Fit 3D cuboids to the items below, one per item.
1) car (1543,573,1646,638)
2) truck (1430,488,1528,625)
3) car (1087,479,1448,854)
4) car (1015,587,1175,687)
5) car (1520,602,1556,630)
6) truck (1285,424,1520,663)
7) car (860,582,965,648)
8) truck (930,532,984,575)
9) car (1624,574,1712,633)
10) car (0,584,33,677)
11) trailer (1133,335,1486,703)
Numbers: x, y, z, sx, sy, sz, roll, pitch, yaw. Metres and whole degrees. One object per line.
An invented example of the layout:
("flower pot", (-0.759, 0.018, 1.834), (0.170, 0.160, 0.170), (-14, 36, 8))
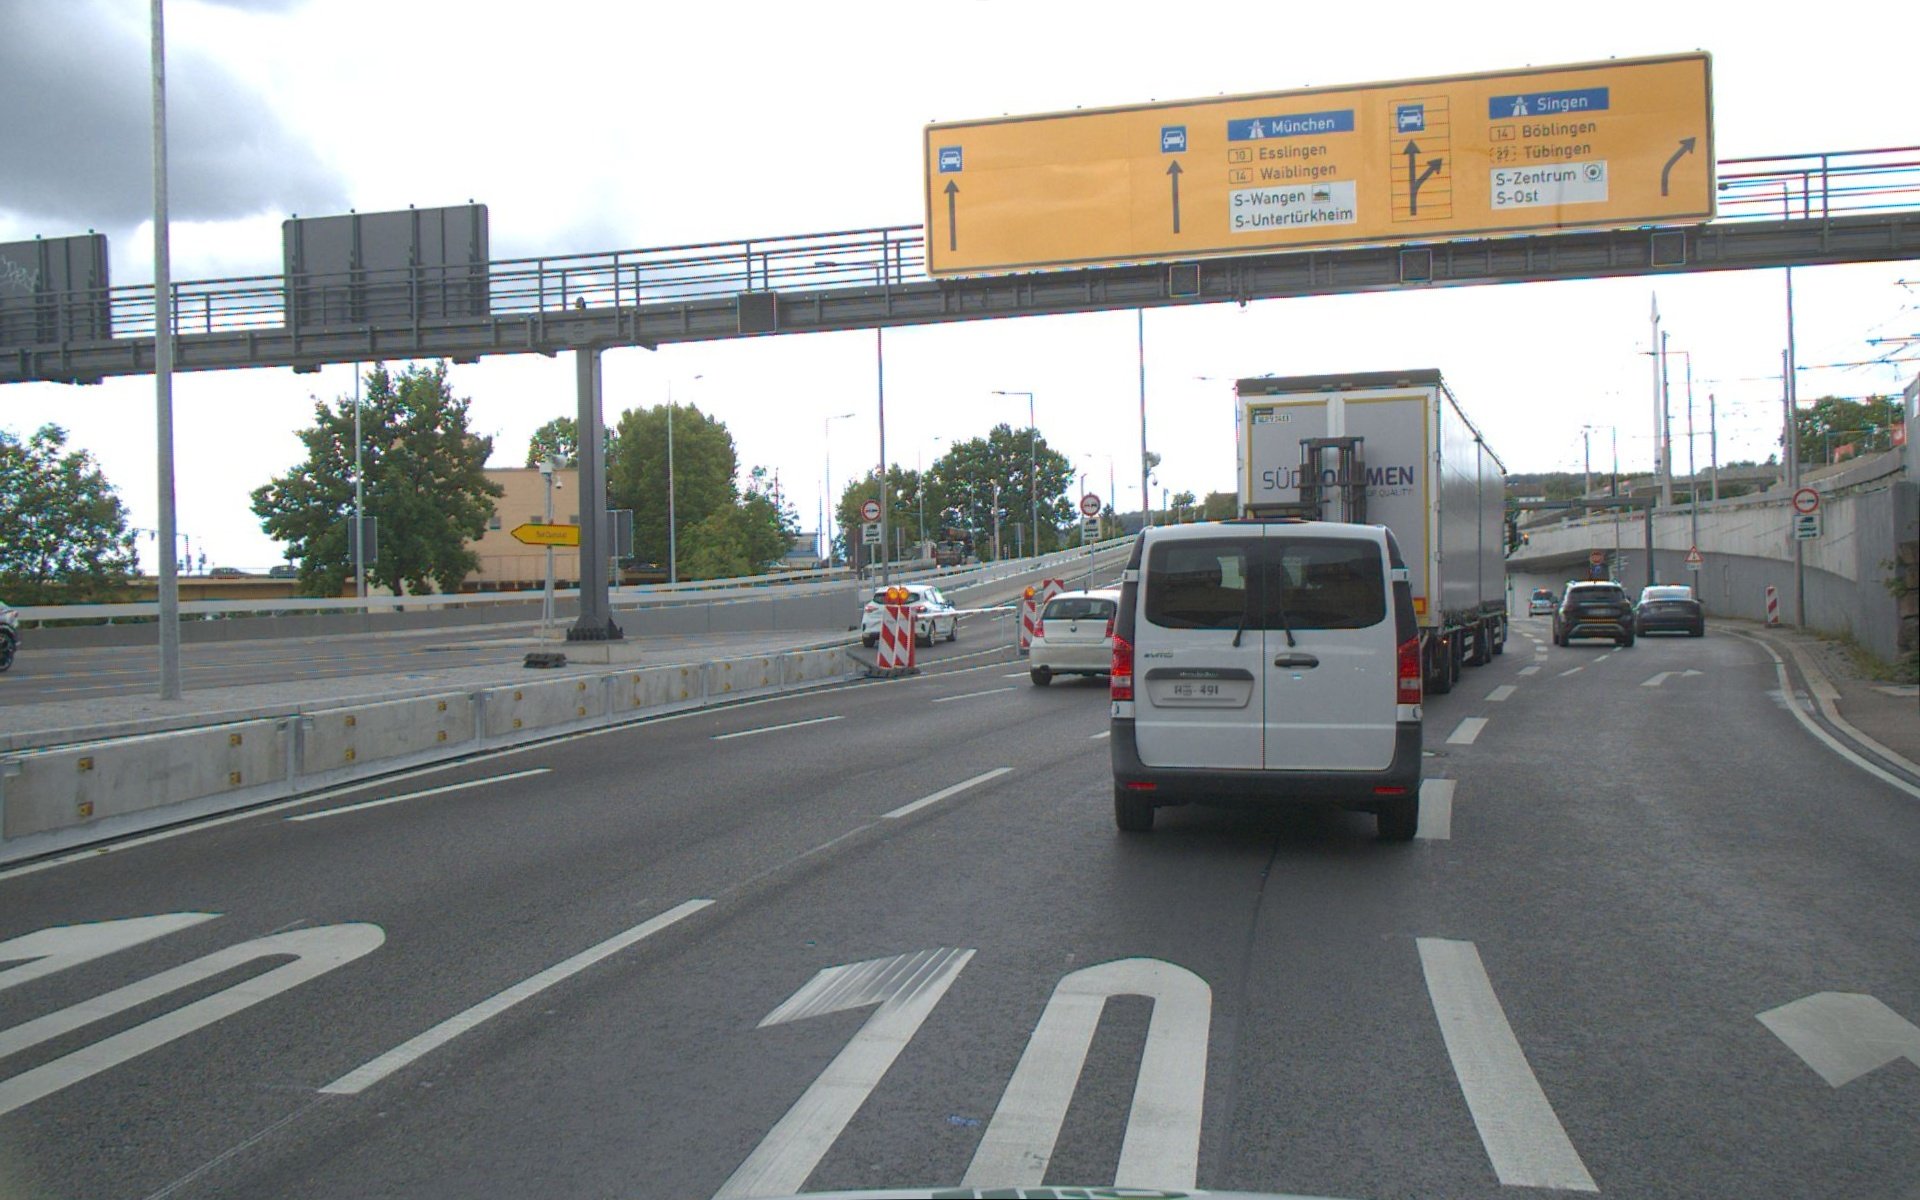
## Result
("car", (15.813, 0.174, 41.403), (1.852, 1.547, 4.003), (0, -1, 13))
("truck", (20.162, -1.553, 64.751), (2.999, 4.887, 9.164), (2, 0, 14))
("car", (2.150, 0.360, 11.673), (1.951, 2.025, 5.204), (0, 0, 11))
("car", (2.219, 0.537, 26.120), (1.707, 1.457, 4.002), (-1, 0, 17))
("car", (40.123, 1.103, 114.725), (1.954, 1.881, 3.997), (0, 0, 25))
("truck", (9.666, -0.994, 34.945), (3.648, 4.214, 10.983), (0, 0, 21))
("car", (-1.099, 0.350, 40.246), (1.706, 1.457, 3.779), (2, 0, 11))
("truck", (-0.176, -4.083, 141.546), (2.674, 3.448, 10.631), (1, 3, 11))
("car", (20.671, 0.110, 48.402), (1.852, 1.654, 4.003), (0, 0, 16))
("car", (-17.850, 0.492, 27.756), (1.951, 1.612, 4.139), (2, 0, 5))
("trailer", (5.702, -0.933, 24.699), (3.647, 4.214, 10.985), (0, 0, 20))
